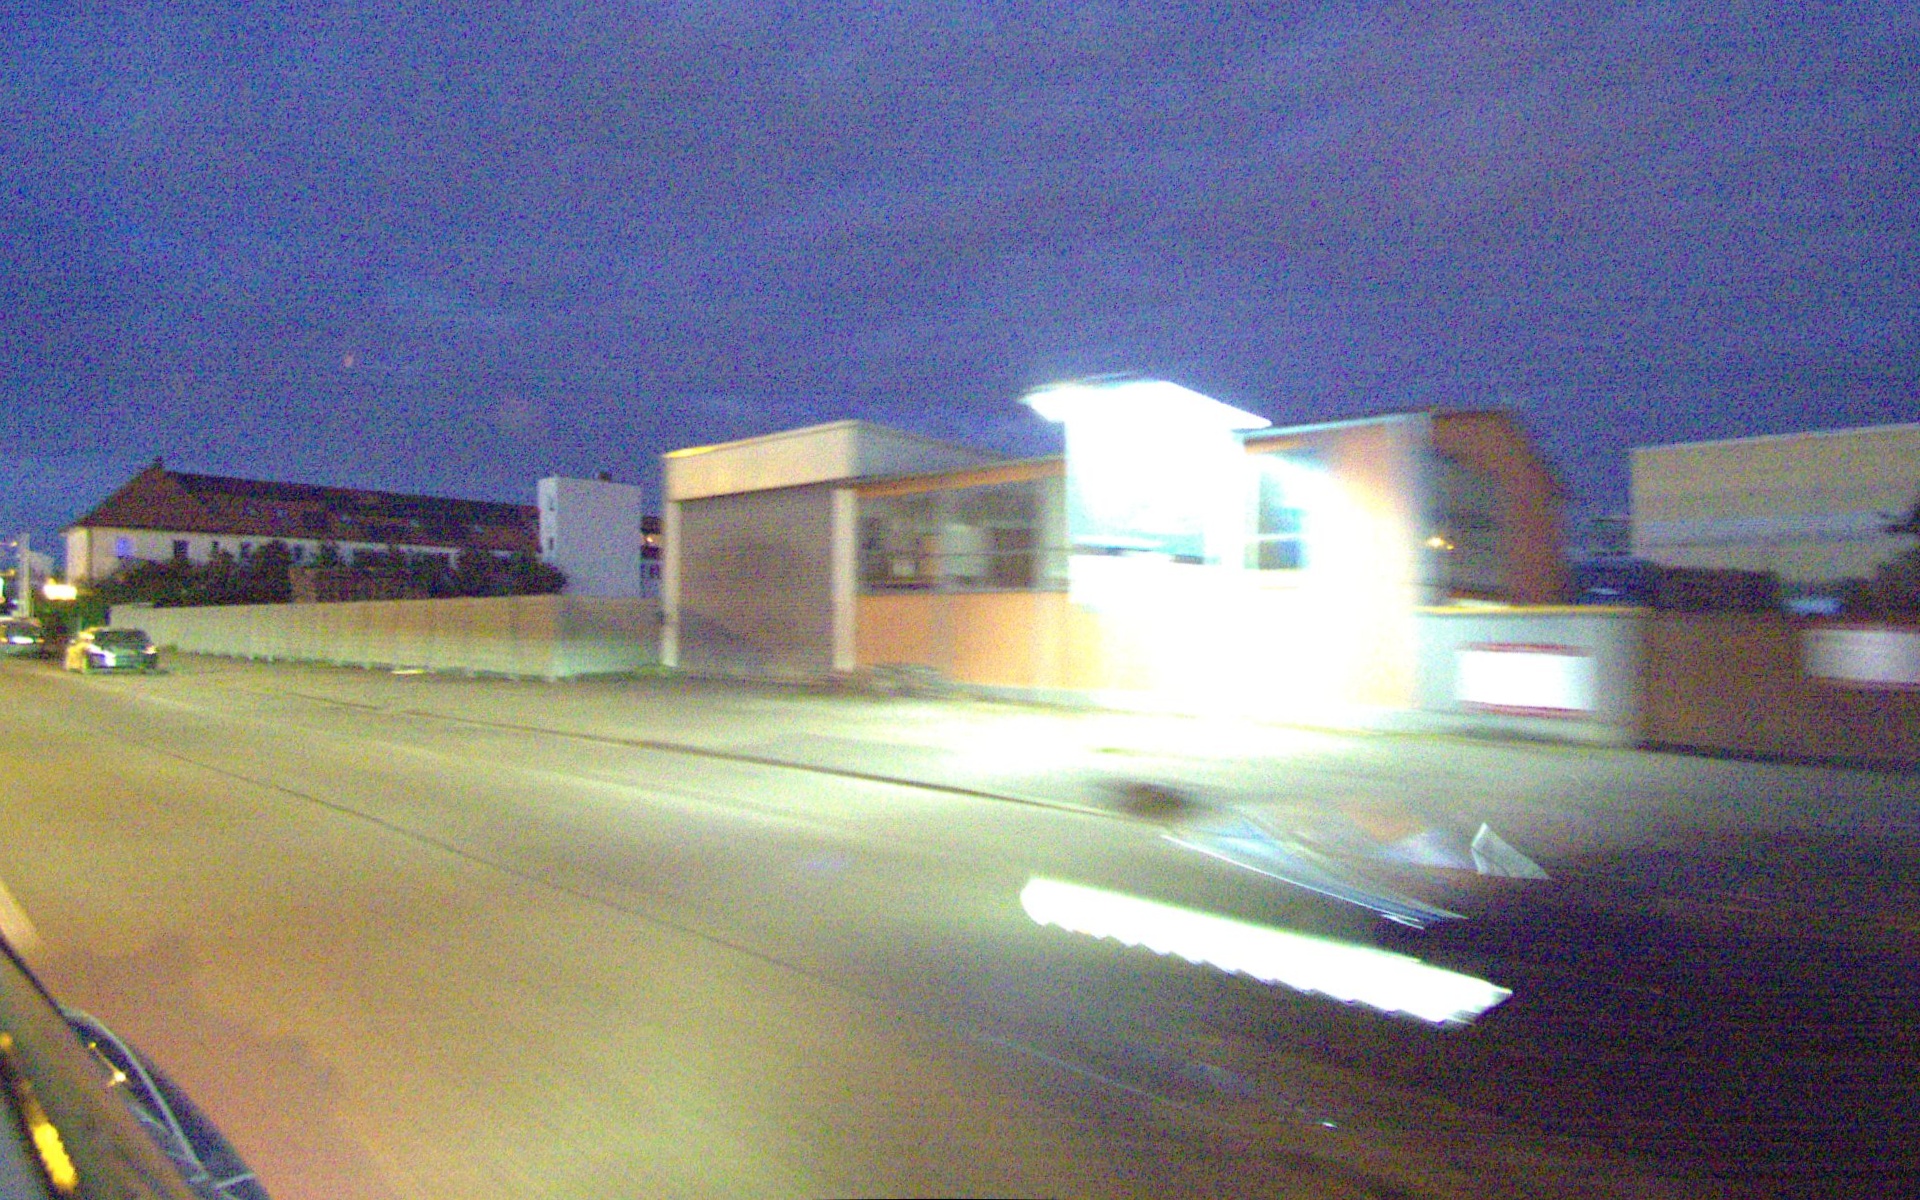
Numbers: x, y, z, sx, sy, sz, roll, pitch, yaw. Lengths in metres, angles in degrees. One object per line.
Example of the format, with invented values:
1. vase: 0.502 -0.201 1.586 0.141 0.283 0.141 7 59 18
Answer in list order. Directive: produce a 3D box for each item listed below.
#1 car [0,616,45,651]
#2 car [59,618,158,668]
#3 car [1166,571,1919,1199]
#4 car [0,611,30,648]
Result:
1. car: -40.137 1.400 42.835 3.878 1.375 1.668 0 0 42
2. car: -25.753 1.253 30.554 4.308 1.401 1.737 -1 -2 43
3. car: 2.682 0.689 1.445 4.396 1.448 1.801 -1 -2 42
4. car: -44.031 1.348 46.470 3.780 1.612 1.570 0 0 42
